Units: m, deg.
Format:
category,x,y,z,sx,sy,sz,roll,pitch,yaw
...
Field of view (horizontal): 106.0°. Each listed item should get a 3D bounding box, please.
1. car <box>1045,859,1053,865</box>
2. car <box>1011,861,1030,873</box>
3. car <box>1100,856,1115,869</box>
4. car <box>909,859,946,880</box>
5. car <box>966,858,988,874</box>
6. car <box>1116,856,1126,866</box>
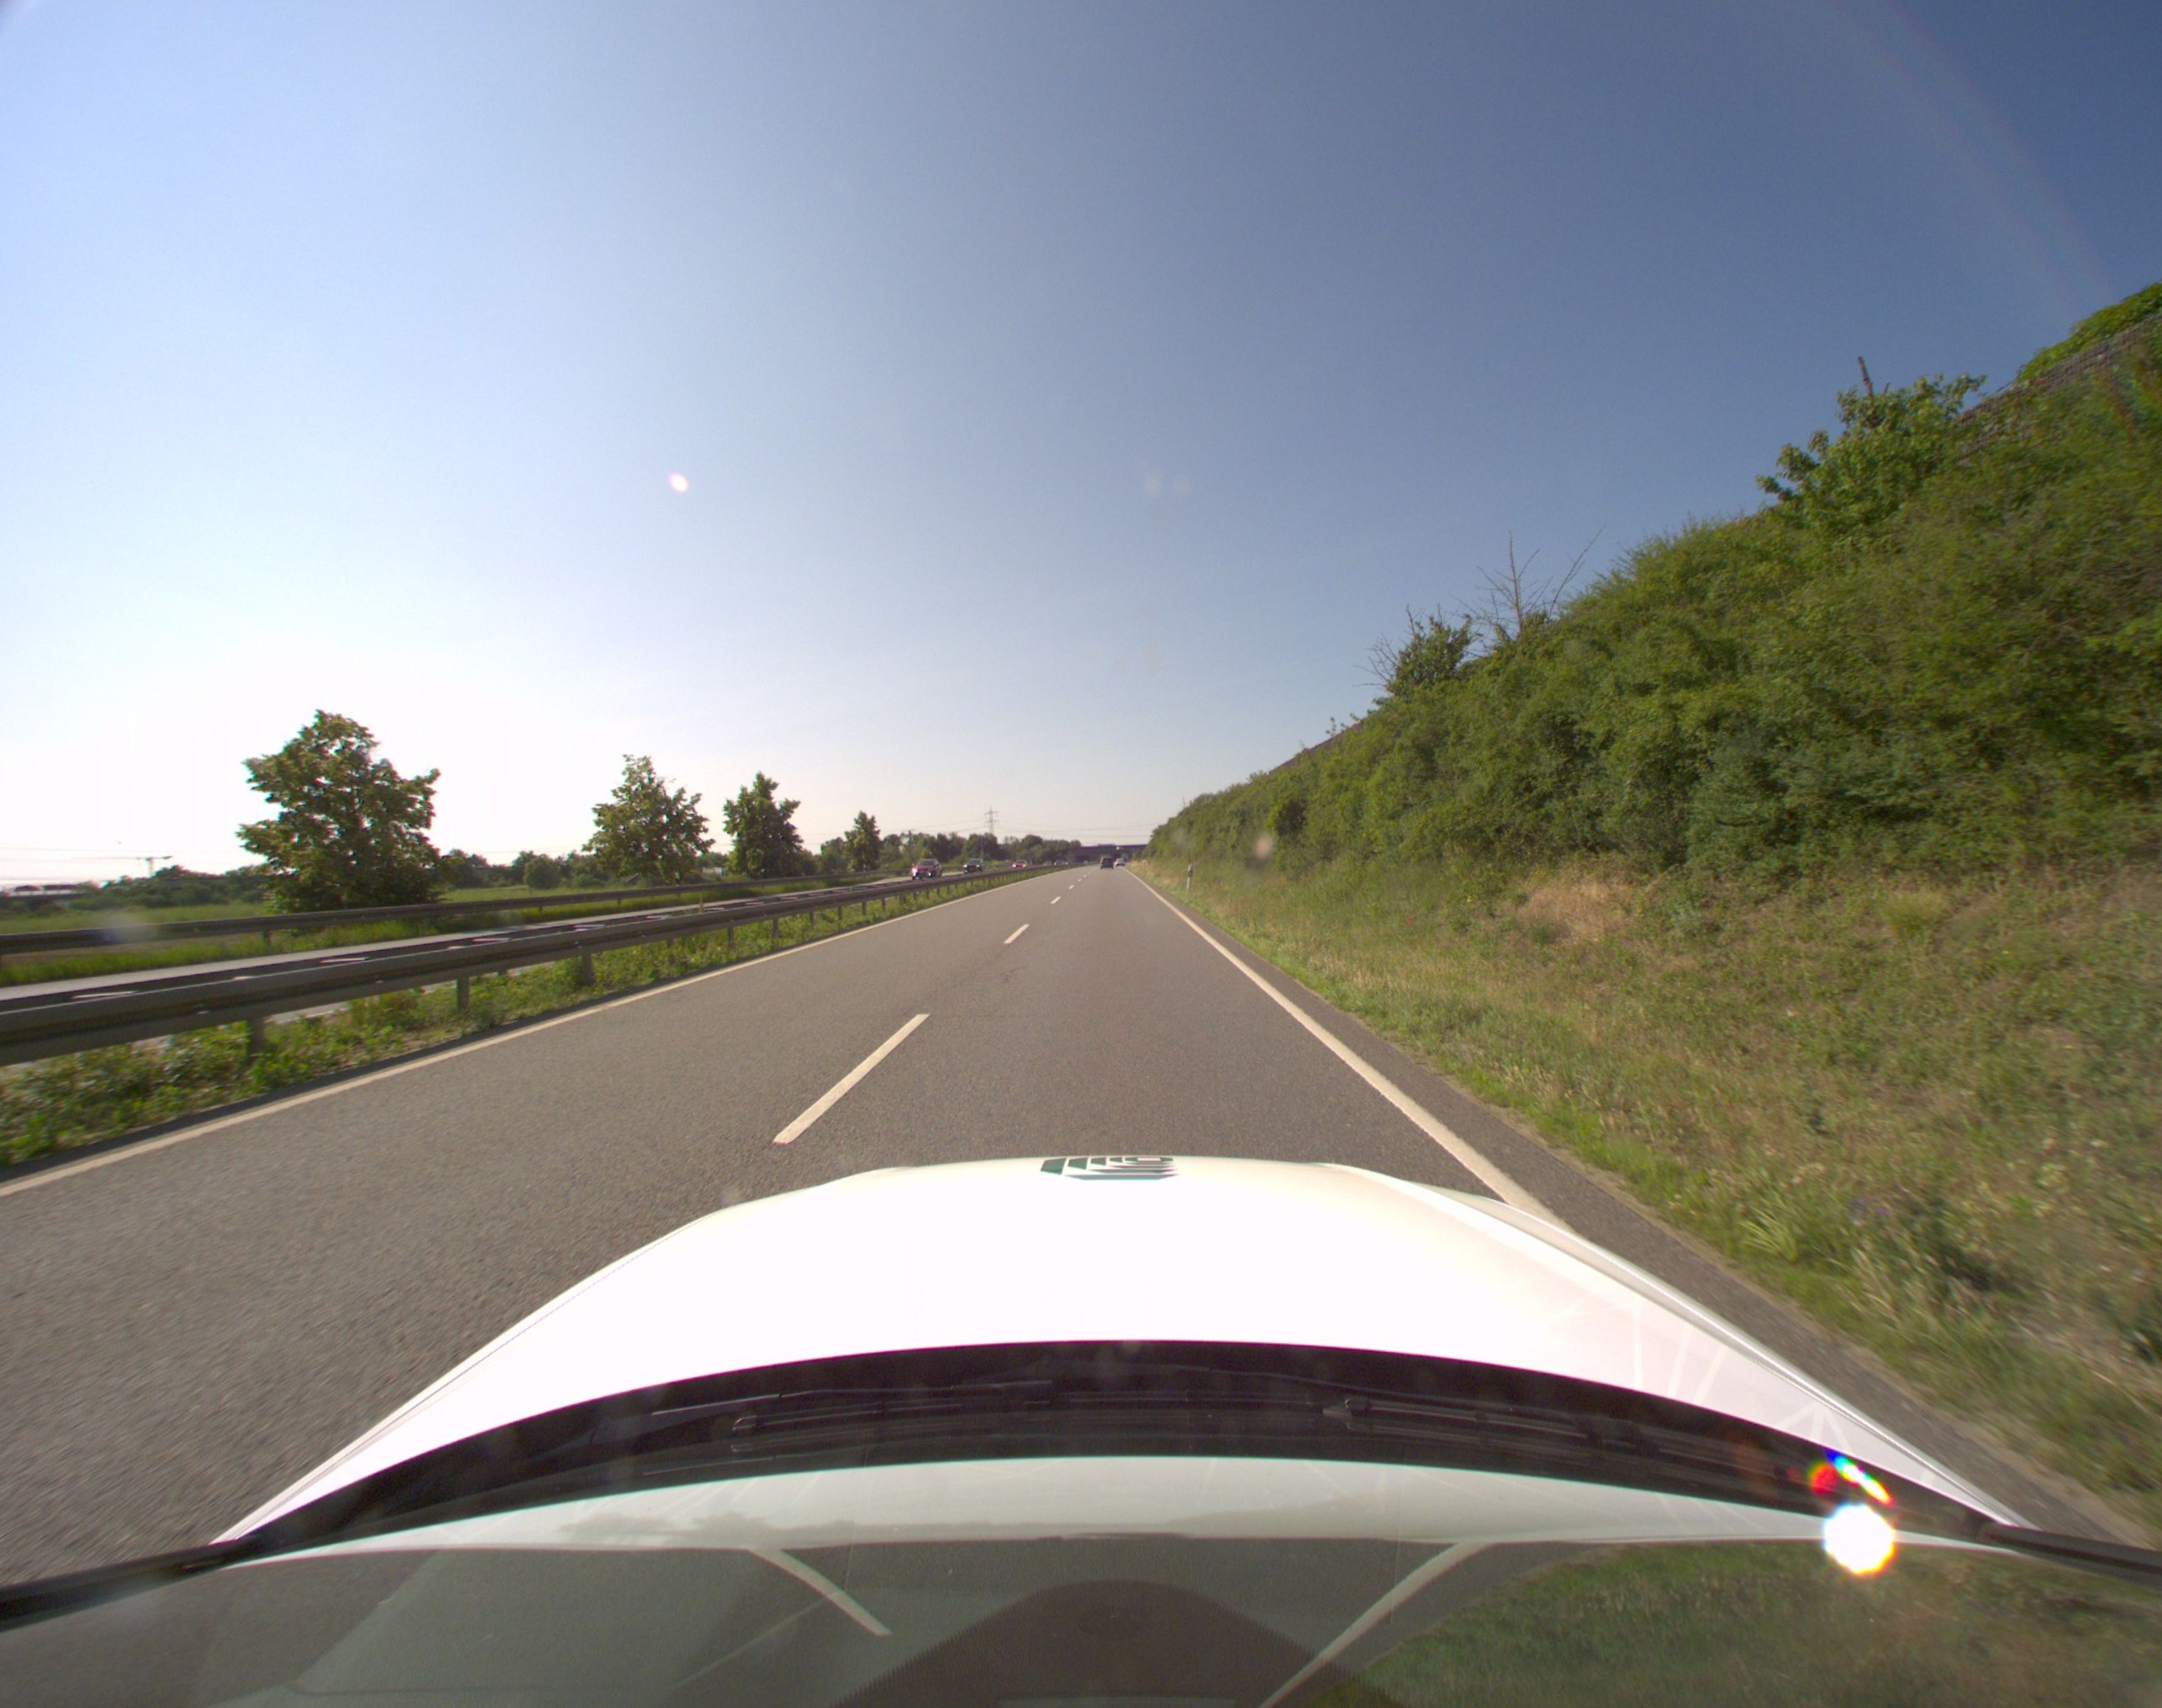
category,x,y,z,sx,sy,sz,roll,pitch,yaw
car,-7.894,2.051,201.177,1.707,1.450,4.323,-2,0,0
car,-7.935,1.734,107.576,1.869,1.493,5.097,-1,0,2
car,3.615,1.183,110.433,1.841,1.644,4.005,-2,-1,5
car,-12.183,1.218,64.898,1.836,1.593,4.776,-1,0,2
car,-11.079,1.261,86.980,1.719,1.595,4.223,-1,0,2
car,7.477,1.313,153.513,1.788,1.665,4.005,0,0,4
